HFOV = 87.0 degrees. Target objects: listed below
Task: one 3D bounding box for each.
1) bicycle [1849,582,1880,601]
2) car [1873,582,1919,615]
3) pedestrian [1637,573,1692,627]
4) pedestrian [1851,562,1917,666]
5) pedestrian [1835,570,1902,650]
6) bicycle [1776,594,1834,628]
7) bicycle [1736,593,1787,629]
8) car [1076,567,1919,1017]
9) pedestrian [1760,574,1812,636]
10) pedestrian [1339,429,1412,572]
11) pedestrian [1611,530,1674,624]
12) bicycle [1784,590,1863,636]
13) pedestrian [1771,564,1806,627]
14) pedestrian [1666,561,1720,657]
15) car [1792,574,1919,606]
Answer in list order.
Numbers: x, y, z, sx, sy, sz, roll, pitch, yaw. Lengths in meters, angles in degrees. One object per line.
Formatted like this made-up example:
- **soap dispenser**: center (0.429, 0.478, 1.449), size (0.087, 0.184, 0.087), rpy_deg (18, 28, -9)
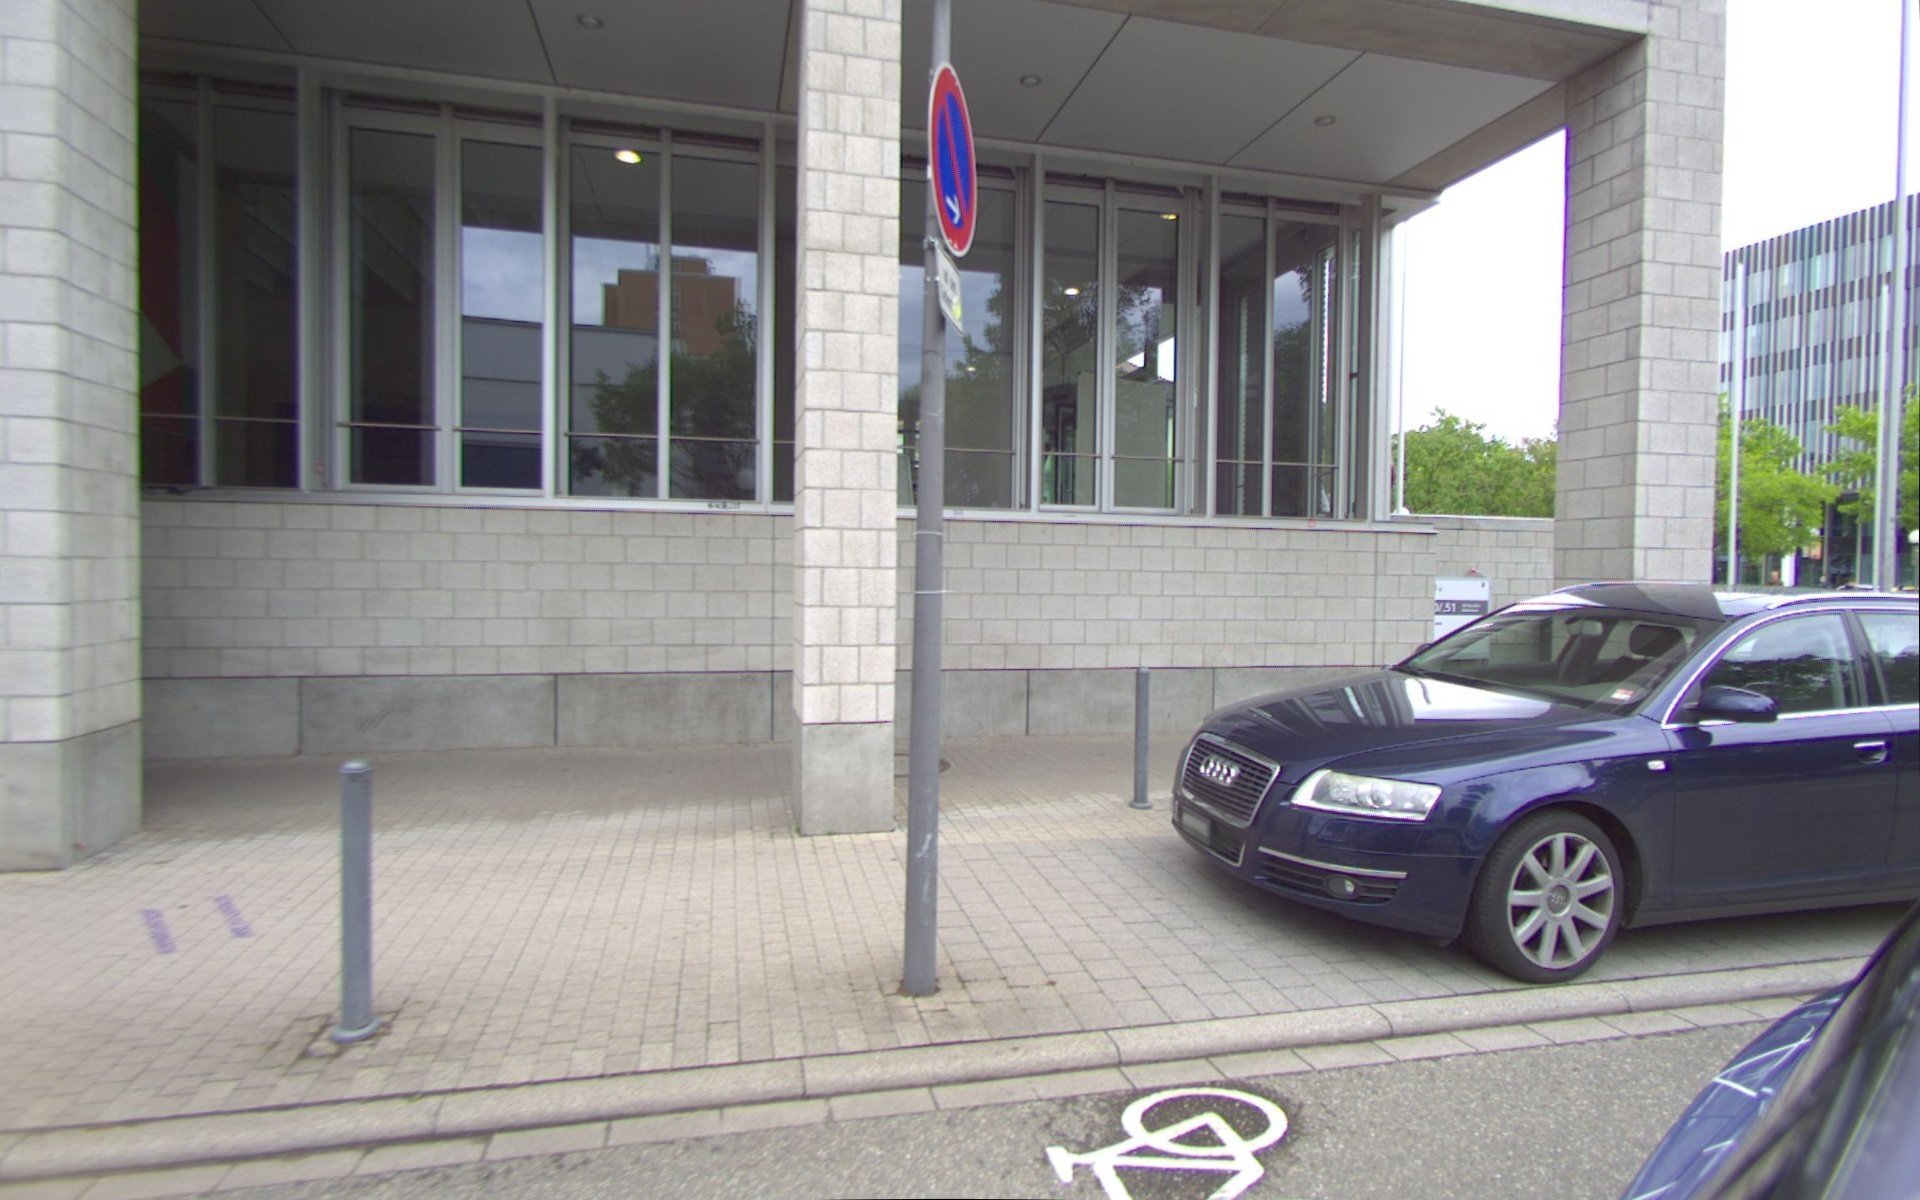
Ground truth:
- **bicycle**: center (65.206, -0.614, 72.933), size (2.060, 1.274, 0.630), rpy_deg (0, 1, -15)
- **car**: center (48.724, -0.048, 50.541), size (1.958, 1.638, 4.204), rpy_deg (0, 2, -17)
- **pedestrian**: center (19.530, -0.018, 28.075), size (0.949, 1.438, 0.854), rpy_deg (0, 2, -24)
- **pedestrian**: center (16.953, 0.240, 18.577), size (0.607, 1.863, 0.594), rpy_deg (1, 2, -13)
- **pedestrian**: center (19.696, 0.197, 21.955), size (0.690, 1.690, 0.759), rpy_deg (0, 2, -11)
- **bicycle**: center (27.375, 0.355, 32.778), size (1.895, 1.062, 0.458), rpy_deg (1, 2, -18)
- **bicycle**: center (24.681, 0.339, 31.168), size (1.896, 1.062, 0.458), rpy_deg (0, 2, -27)
- **car**: center (3.190, 0.599, 4.842), size (4.819, 1.470, 2.005), rpy_deg (0, 2, -13)
- **pedestrian**: center (23.743, 0.132, 29.093), size (0.950, 1.725, 0.853), rpy_deg (0, 3, -35)
- **pedestrian**: center (5.166, -1.219, 12.616), size (0.621, 1.679, 0.804), rpy_deg (3, 0, 11)
- **pedestrian**: center (13.326, -0.438, 19.783), size (0.684, 1.734, 0.904), rpy_deg (4, -2, 16)
- **bicycle**: center (23.989, 0.363, 28.099), size (2.363, 1.185, 0.458), rpy_deg (3, 0, -18)
- **pedestrian**: center (24.549, -0.138, 29.985), size (0.667, 1.856, 0.507), rpy_deg (1, 2, 27)
- **pedestrian**: center (13.674, 0.150, 18.899), size (0.641, 1.734, 0.776), rpy_deg (1, 1, 24)
- **car**: center (52.954, -0.633, 59.945), size (2.004, 1.719, 5.386), rpy_deg (3, 0, -17)
